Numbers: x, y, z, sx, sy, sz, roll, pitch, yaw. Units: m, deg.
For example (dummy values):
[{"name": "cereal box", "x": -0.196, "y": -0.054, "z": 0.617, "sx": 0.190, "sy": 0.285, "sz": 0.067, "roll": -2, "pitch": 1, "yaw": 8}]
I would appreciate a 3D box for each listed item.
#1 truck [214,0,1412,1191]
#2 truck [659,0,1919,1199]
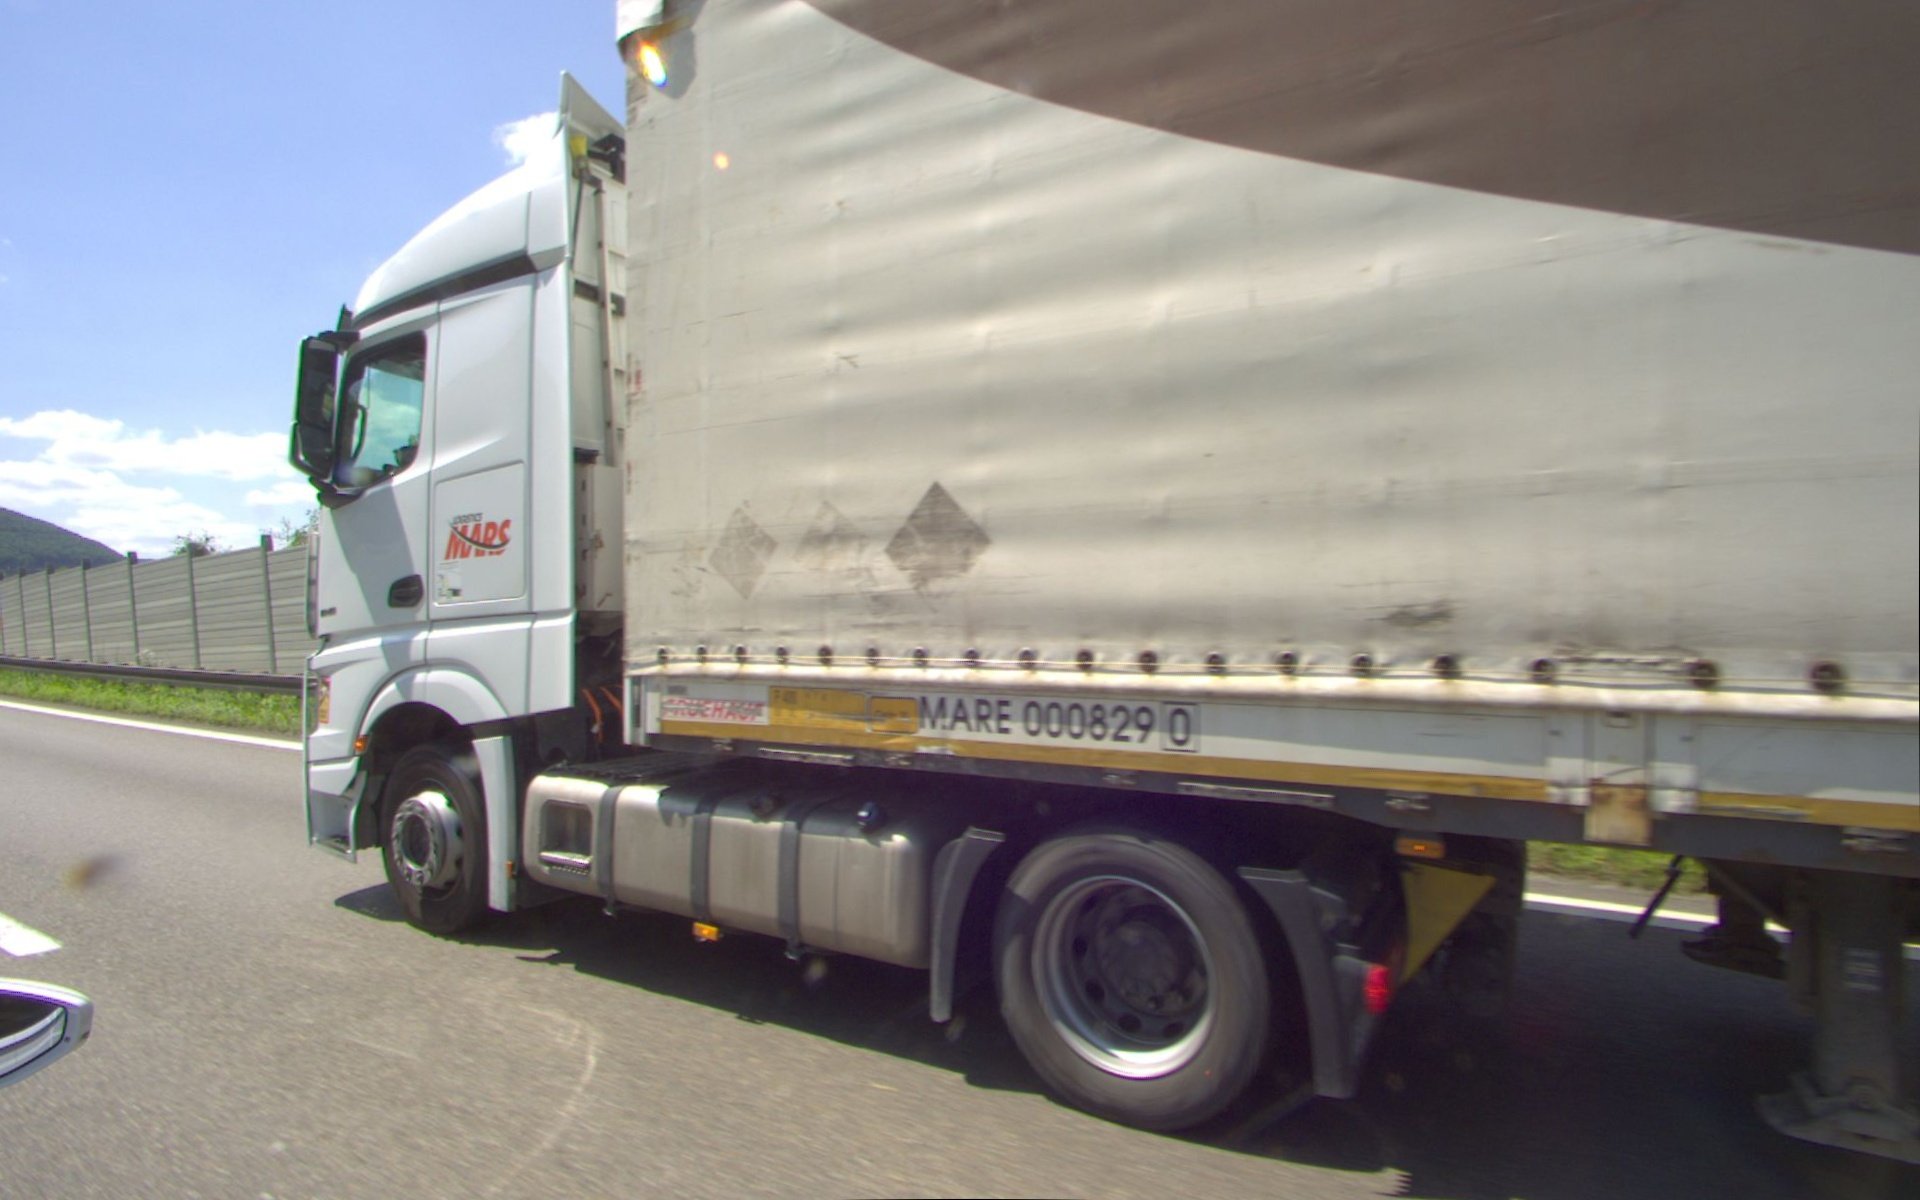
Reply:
[{"name": "truck", "x": -0.904, "y": -0.472, "z": 5.171, "sx": 5.668, "sy": 4.120, "sz": 2.716, "roll": -1, "pitch": -1, "yaw": 30}, {"name": "truck", "x": 5.414, "y": -0.616, "z": 1.530, "sx": 13.536, "sy": 4.120, "sz": 2.723, "roll": -1, "pitch": -1, "yaw": 30}]
